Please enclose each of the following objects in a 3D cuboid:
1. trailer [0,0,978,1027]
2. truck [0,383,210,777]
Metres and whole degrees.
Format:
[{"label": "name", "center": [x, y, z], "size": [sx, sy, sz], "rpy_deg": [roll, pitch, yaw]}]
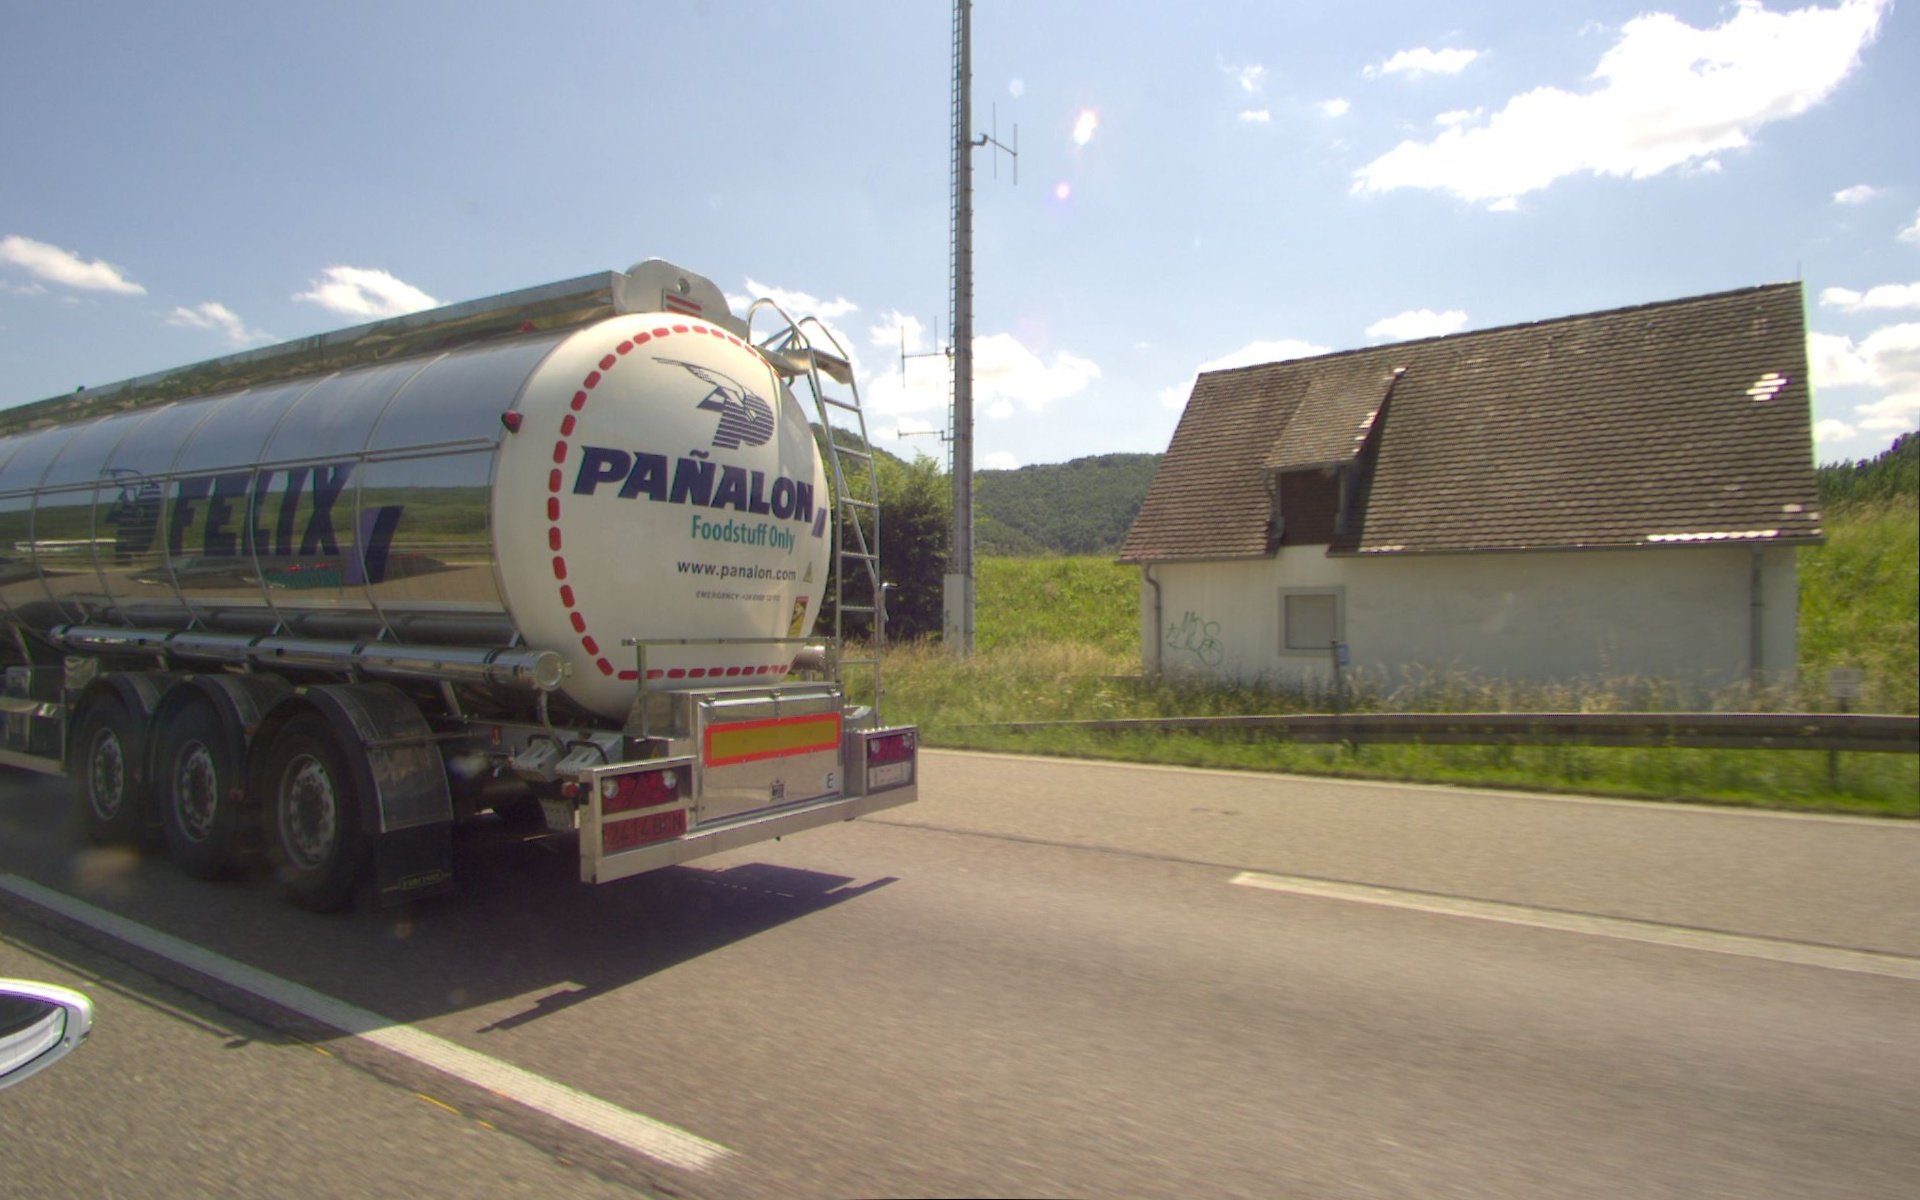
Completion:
[{"label": "trailer", "center": [-5.519, -0.231, 7.882], "size": [11.720, 3.784, 2.534], "rpy_deg": [-1, -1, 32]}, {"label": "truck", "center": [-11.204, -0.154, 11.448], "size": [5.170, 3.807, 2.507], "rpy_deg": [-1, -1, 32]}]
